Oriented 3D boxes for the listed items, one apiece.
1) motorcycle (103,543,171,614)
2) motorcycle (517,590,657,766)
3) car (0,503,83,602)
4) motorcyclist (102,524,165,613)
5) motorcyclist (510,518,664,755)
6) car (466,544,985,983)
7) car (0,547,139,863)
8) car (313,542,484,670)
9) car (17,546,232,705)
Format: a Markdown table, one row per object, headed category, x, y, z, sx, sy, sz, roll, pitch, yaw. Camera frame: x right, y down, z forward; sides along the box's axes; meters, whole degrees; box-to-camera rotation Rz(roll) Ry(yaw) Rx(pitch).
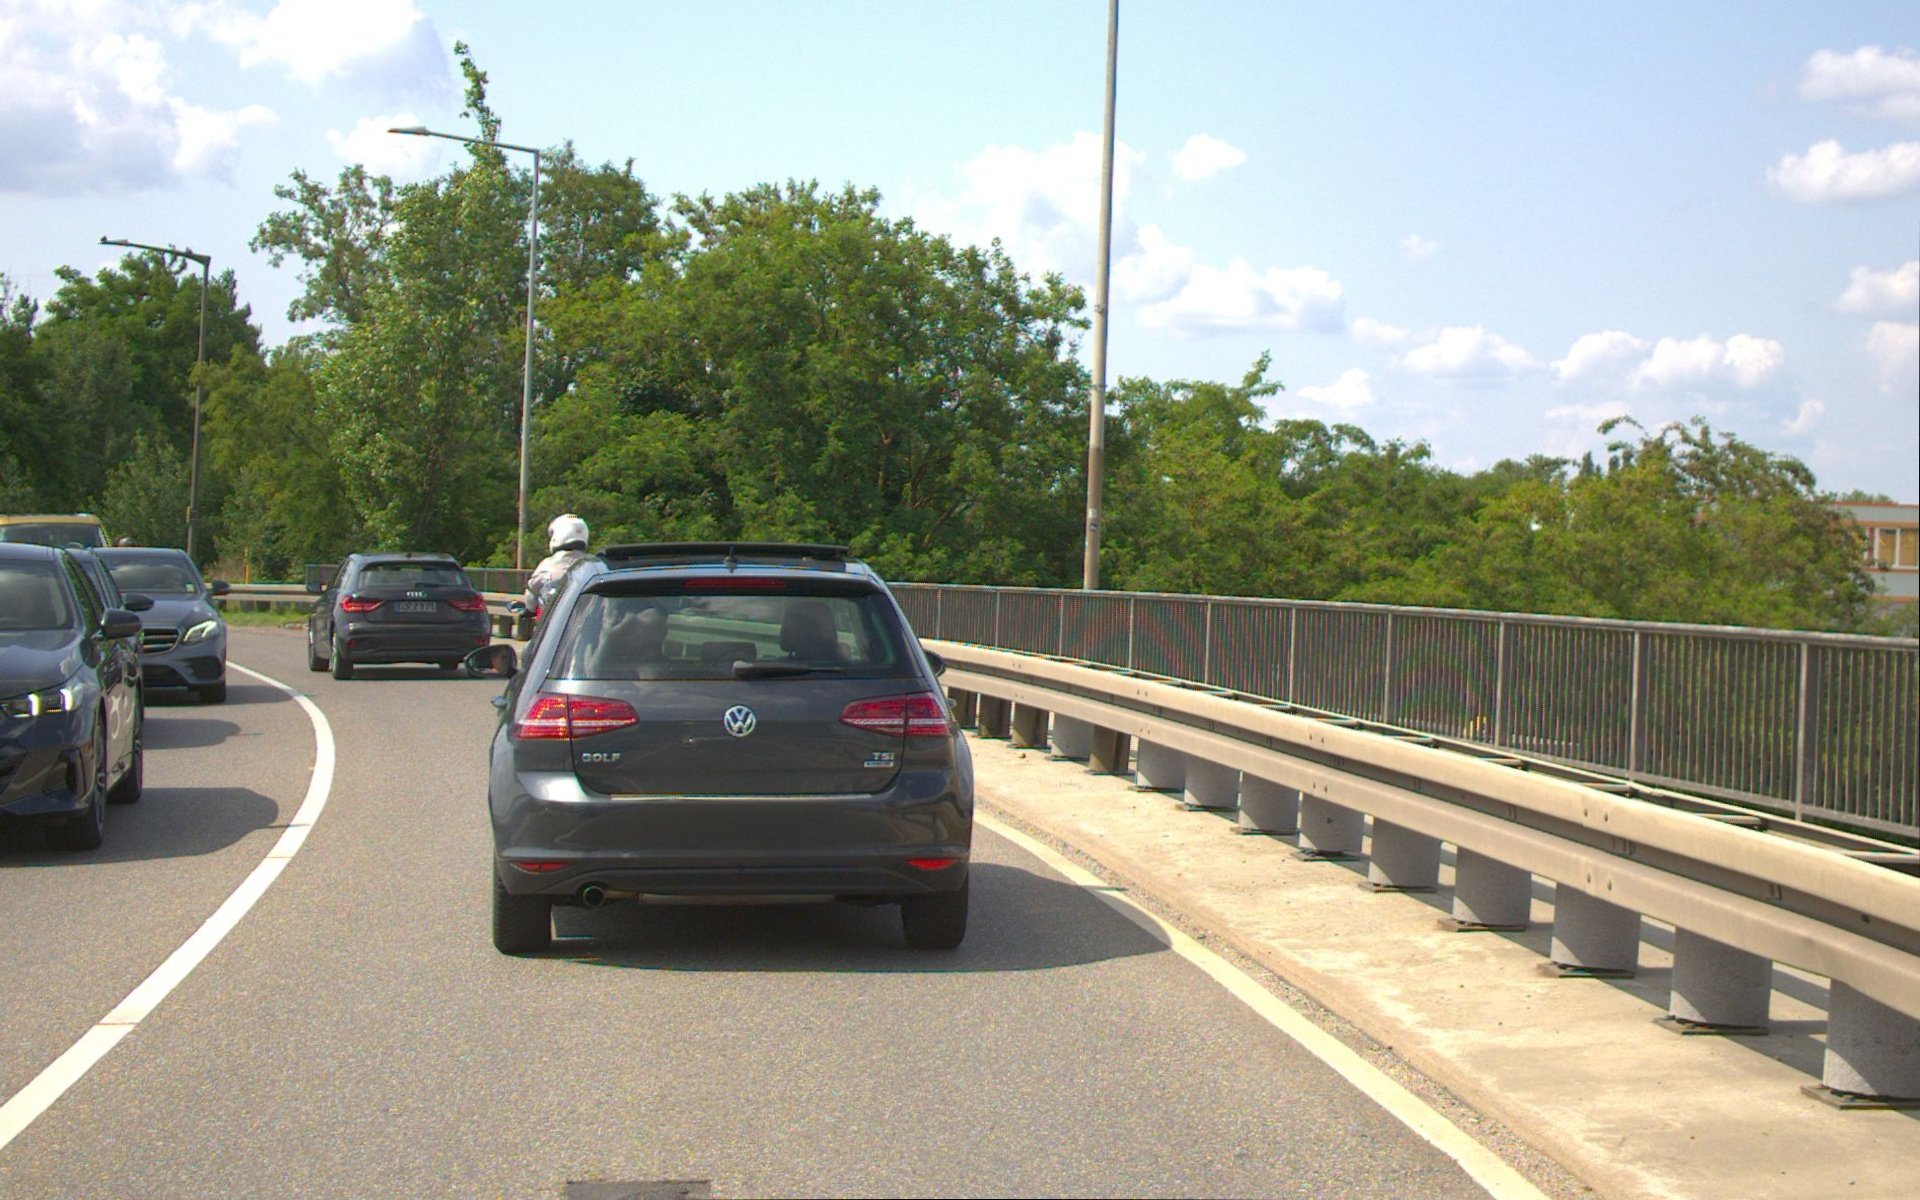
| category | x | y | z | sx | sy | sz | roll | pitch | yaw |
| --- | --- | --- | --- | --- | --- | --- | --- | --- | --- |
| motorcycle | -14.929 | -0.406 | 62.325 | 0.887 | 1.243 | 2.400 | 0 | 1 | -21 |
| motorcycle | -2.633 | 0.516 | 24.077 | 0.789 | 1.128 | 2.400 | 0 | 1 | -11 |
| car | -14.015 | -0.699 | 50.974 | 1.876 | 1.397 | 3.888 | -1 | 1 | -15 |
| motorcyclist | -15.027 | -0.582 | 62.501 | 0.965 | 1.590 | 1.125 | 0 | 1 | -21 |
| motorcyclist | -2.628 | 0.240 | 24.092 | 0.965 | 1.614 | 1.125 | 1 | 1 | -11 |
| car | -1.061 | 0.530 | 13.586 | 1.642 | 1.474 | 3.873 | 0 | 1 | -10 |
| car | -5.284 | 0.469 | 17.615 | 1.876 | 1.437 | 3.887 | -1 | 1 | -11 |
| car | -6.431 | 0.072 | 39.129 | 1.681 | 1.383 | 3.740 | 0 | 0 | -13 |
| car | -8.102 | 0.196 | 33.176 | 1.876 | 1.397 | 3.888 | -1 | 1 | -15 |
